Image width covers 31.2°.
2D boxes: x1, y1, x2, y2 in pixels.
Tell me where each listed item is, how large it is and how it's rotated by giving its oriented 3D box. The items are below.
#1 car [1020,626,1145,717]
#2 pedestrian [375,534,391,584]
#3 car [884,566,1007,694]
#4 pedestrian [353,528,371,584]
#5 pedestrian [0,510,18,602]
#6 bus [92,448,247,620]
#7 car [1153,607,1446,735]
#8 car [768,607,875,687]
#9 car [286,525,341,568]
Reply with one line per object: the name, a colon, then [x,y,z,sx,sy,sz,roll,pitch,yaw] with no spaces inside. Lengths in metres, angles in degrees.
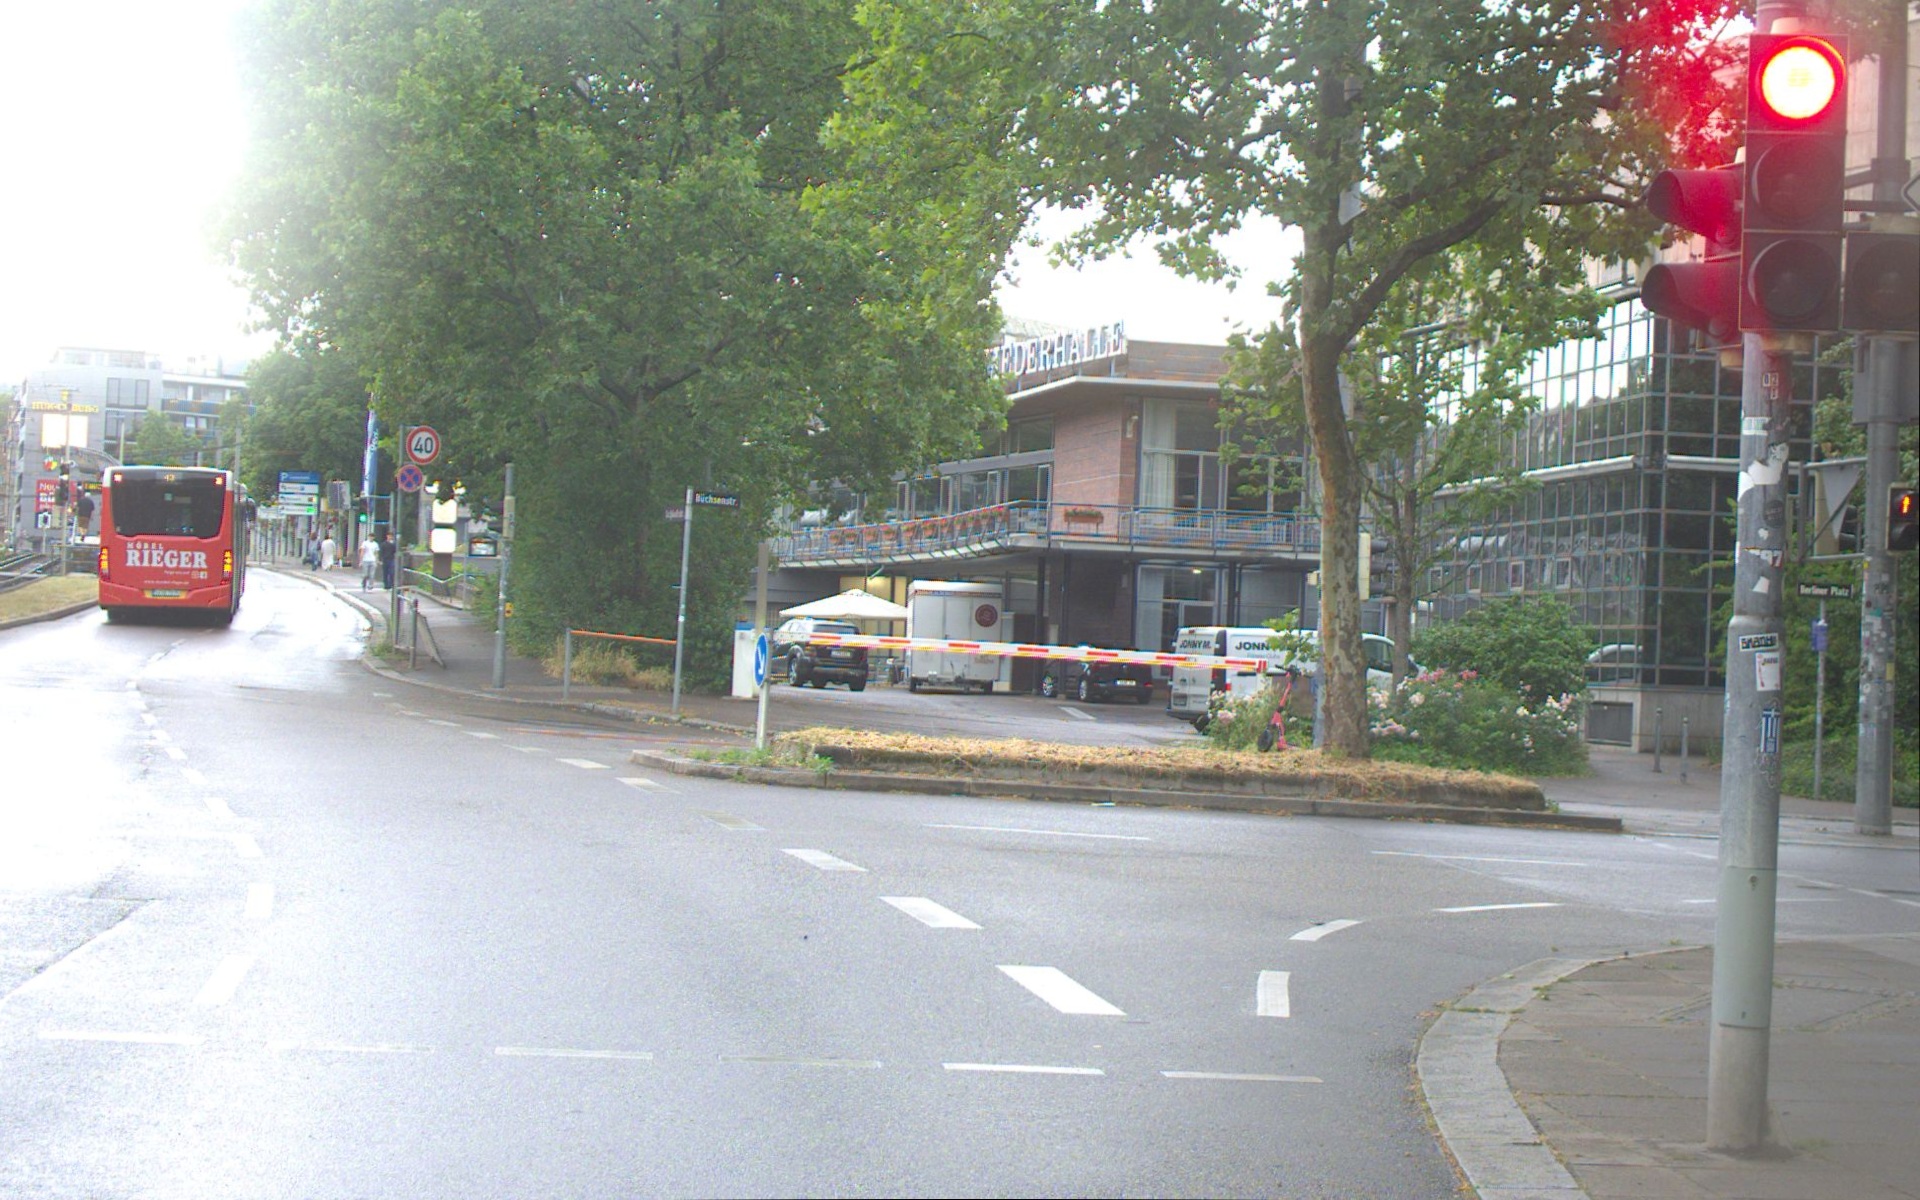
car: [2.975,1.727,84.457,1.993,2.007,4.001,4,-1,-13]
pedestrian: [-17.719,-1.251,105.577,0.371,1.520,0.344,3,0,-1]
car: [-0.416,0.771,90.561,2.544,3.123,5.032,4,-1,-6]
pedestrian: [-18.327,-1.356,105.412,0.371,1.702,0.644,3,0,-1]
pedestrian: [-17.490,-0.806,62.194,0.737,1.634,0.871,4,-1,-14]
bus: [-16.205,-1.292,70.107,2.654,3.100,9.188,4,-1,-14]
car: [6.129,1.280,62.074,4.745,1.937,2.001,4,-1,-22]
car: [-3.569,1.180,87.939,1.993,1.853,4.001,4,-1,-12]
car: [-28.061,-2.297,149.070,1.993,1.678,4.001,4,-1,-14]
